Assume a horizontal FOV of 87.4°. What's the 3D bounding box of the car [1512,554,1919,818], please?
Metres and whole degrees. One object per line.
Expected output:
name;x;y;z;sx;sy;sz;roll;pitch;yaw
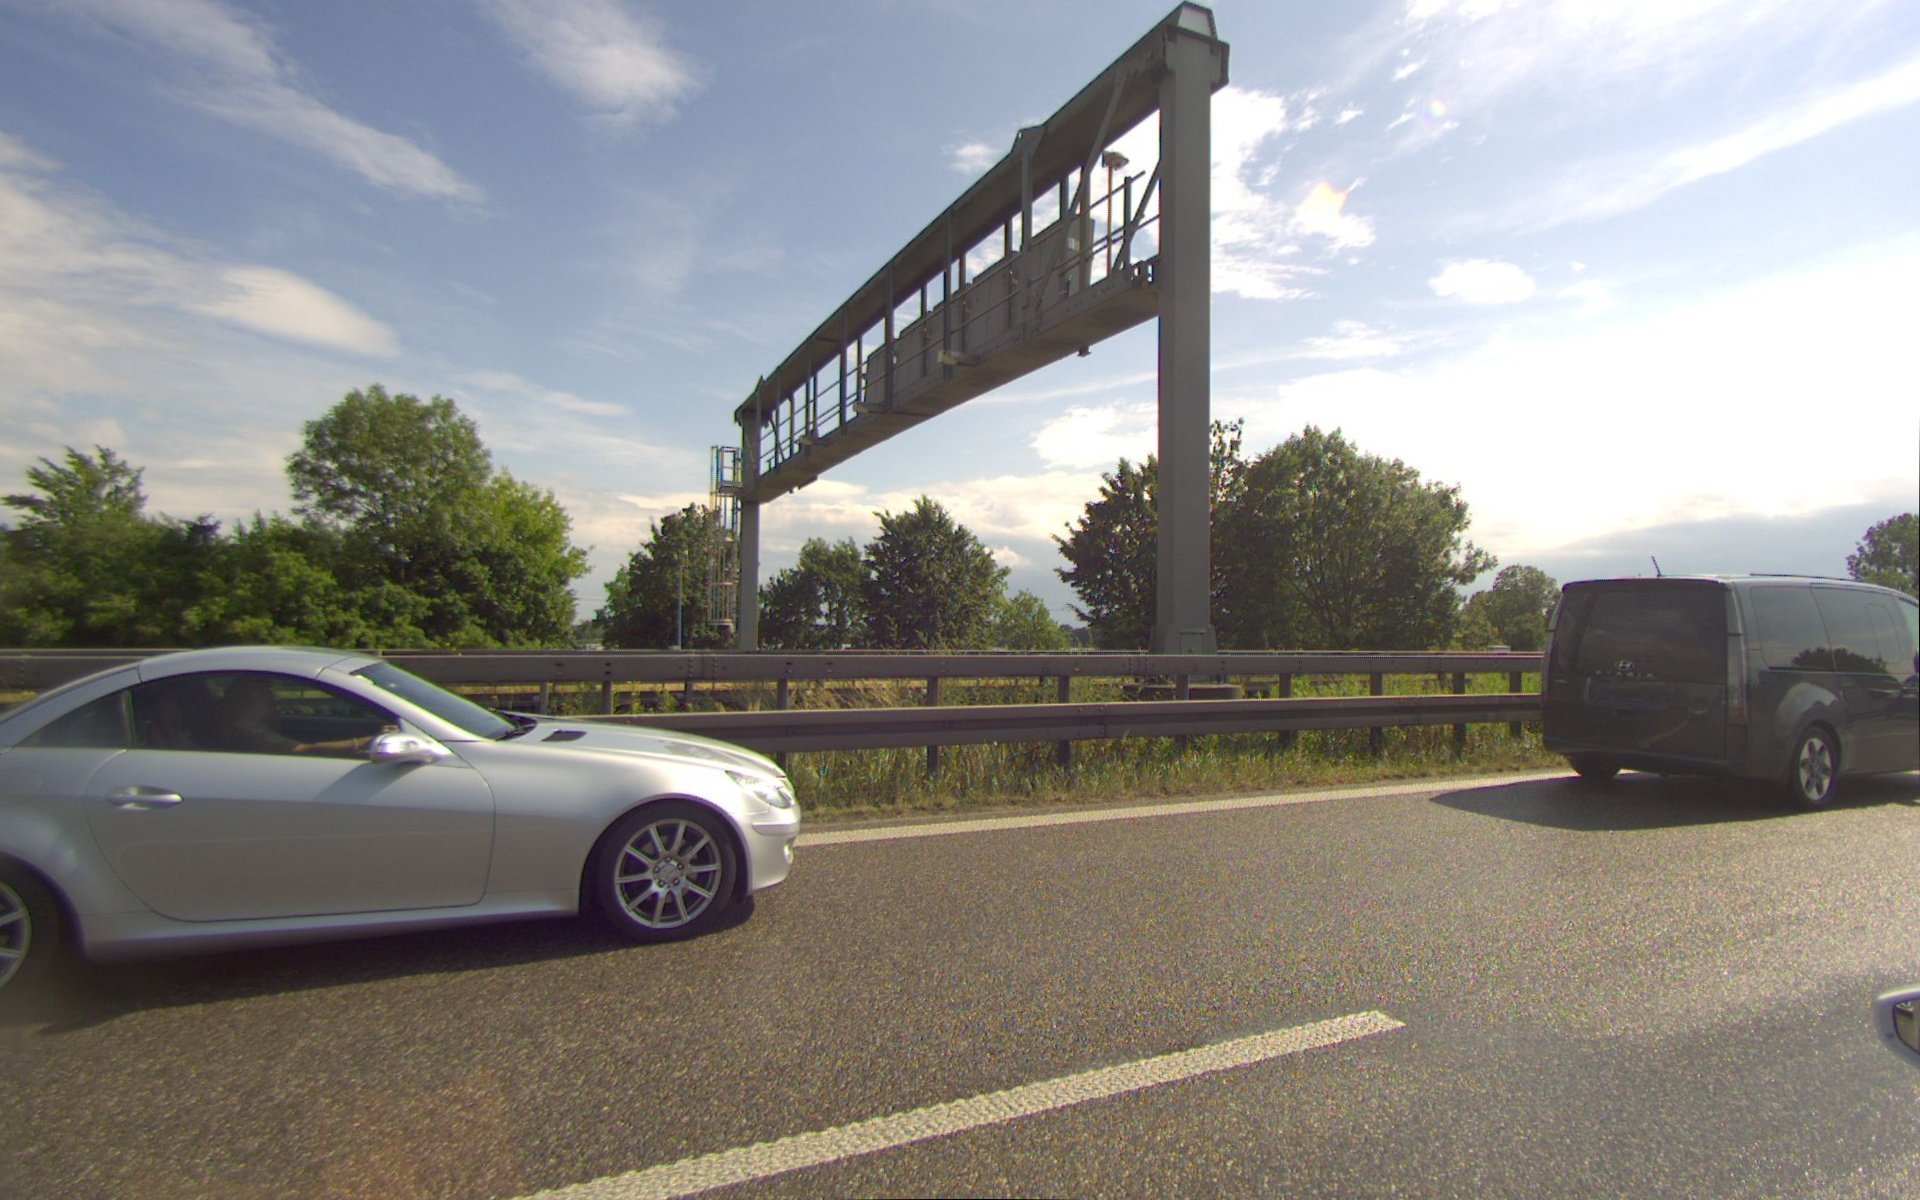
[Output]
car;8.024;0.732;9.795;5.198;2.040;1.987;1;-1;-26

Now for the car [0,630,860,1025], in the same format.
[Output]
car;-2.646;0.819;4.654;4.010;1.295;1.719;1;-1;-26
